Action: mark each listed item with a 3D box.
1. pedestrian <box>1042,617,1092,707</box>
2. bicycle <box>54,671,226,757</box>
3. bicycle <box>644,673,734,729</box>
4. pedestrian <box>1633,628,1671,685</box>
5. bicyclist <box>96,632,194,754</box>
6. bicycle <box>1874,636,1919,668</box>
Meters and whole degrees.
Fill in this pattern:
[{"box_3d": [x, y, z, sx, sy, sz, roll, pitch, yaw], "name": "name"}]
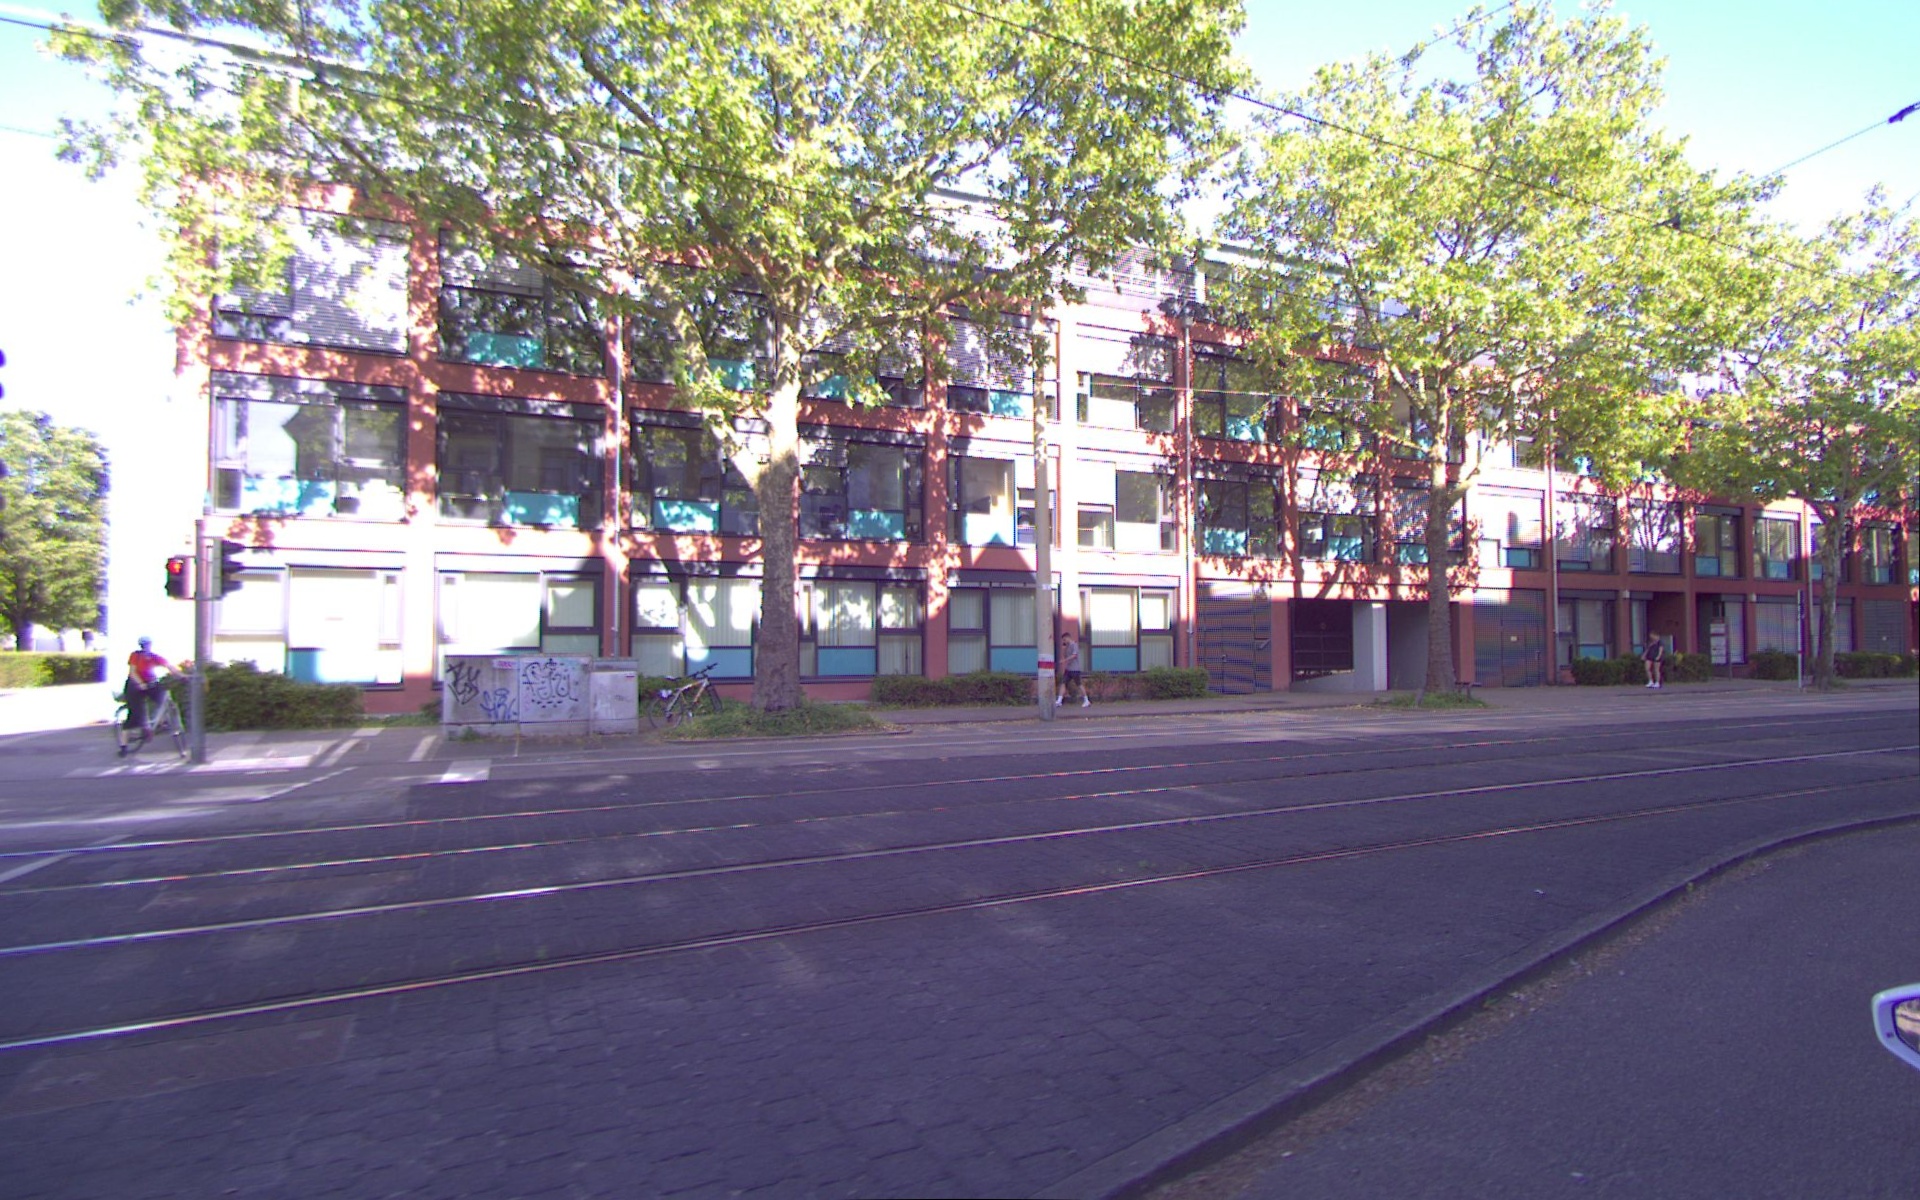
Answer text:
[{"box_3d": [2.499, 1.428, 23.438, 0.772, 2.040, 0.905, 0, 0, -32], "name": "pedestrian"}, {"box_3d": [-11.904, 1.642, 14.615, 1.995, 1.144, 0.634, 1, 0, 1], "name": "bicycle"}, {"box_3d": [-4.838, 1.784, 17.999, 0.514, 0.918, 1.536, -2, -3, 42], "name": "bicycle"}, {"box_3d": [21.732, 1.765, 31.533, 0.888, 1.741, 0.623, 0, 0, -25], "name": "pedestrian"}, {"box_3d": [-11.845, 1.340, 14.613, 0.914, 1.715, 0.607, 0, 0, 1], "name": "bicyclist"}, {"box_3d": [42.105, 2.300, 44.738, 0.608, 1.289, 2.061, -1, 1, -17], "name": "bicycle"}]
